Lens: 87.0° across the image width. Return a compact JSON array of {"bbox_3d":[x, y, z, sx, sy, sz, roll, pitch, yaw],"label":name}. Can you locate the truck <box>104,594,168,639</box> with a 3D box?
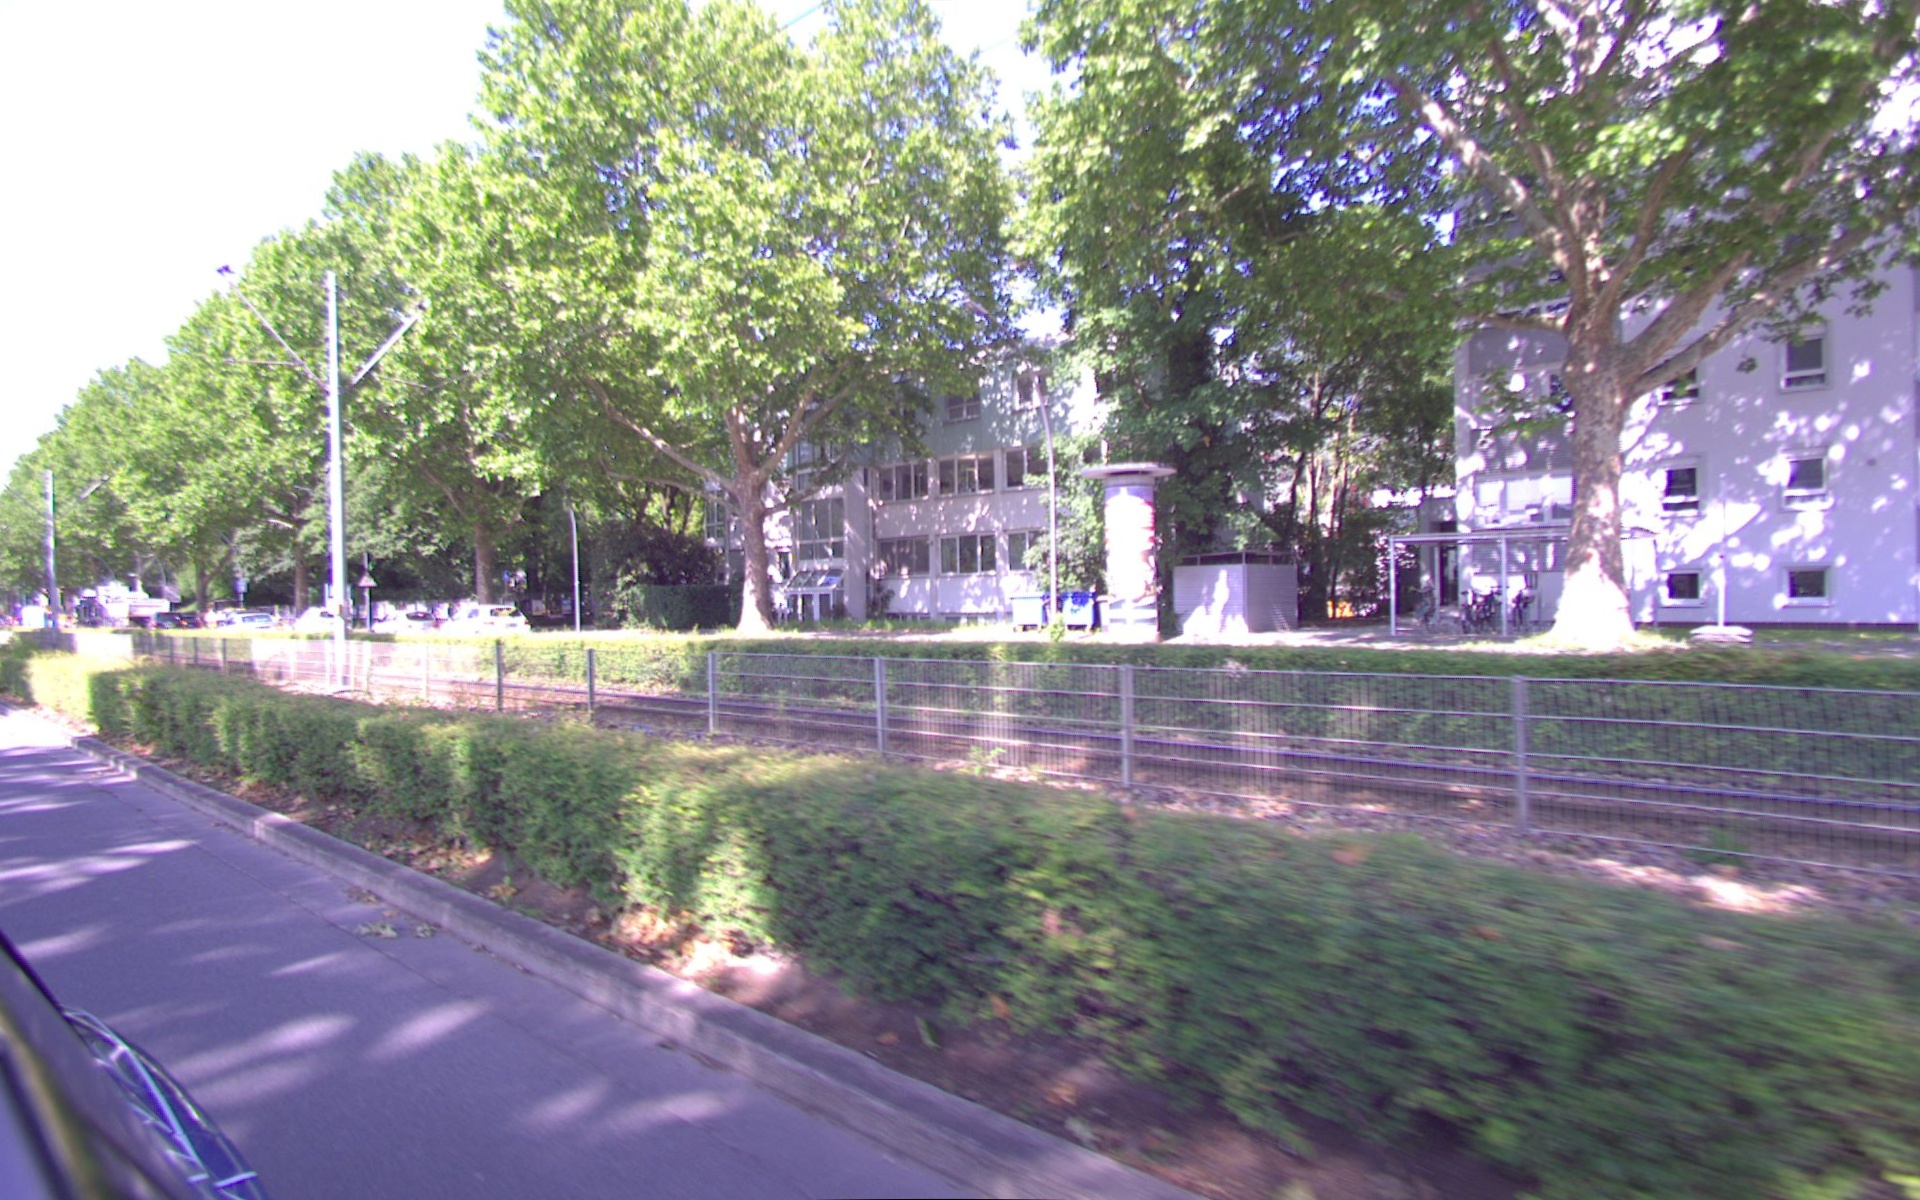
[{"bbox_3d":[-62.973,1.270,77.279,6.538,3.303,2.716,-2,0,41],"label":"truck"}]

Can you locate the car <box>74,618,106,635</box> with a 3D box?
[{"bbox_3d":[-80.586,2.475,93.749,3.863,1.464,1.730,-2,0,41],"label":"car"}]

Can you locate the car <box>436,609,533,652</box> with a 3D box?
[{"bbox_3d":[-17.272,1.103,36.713,3.911,1.502,1.796,-2,-2,41],"label":"car"}]

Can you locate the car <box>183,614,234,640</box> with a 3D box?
[{"bbox_3d":[-46.257,1.680,62.257,3.890,1.425,1.680,-2,2,41],"label":"car"}]

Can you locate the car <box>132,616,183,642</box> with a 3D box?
[{"bbox_3d":[-47.962,1.720,60.461,3.890,1.425,1.680,-2,2,41],"label":"car"}]

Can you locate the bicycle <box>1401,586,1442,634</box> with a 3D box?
[{"bbox_3d":[11.195,0.230,24.528,0.421,1.111,1.747,-2,0,41],"label":"bicycle"}]

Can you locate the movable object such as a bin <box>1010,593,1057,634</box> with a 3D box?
[{"bbox_3d":[2.255,0.408,30.939,1.098,1.198,0.886,-2,0,41],"label":"movable object such as a bin"}]

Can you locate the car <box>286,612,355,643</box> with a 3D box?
[{"bbox_3d":[-31.667,1.358,50.088,3.998,1.464,1.836,-2,0,41],"label":"car"}]

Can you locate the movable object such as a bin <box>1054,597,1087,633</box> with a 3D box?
[{"bbox_3d":[3.286,0.445,29.961,0.545,1.044,0.887,-2,0,41],"label":"movable object such as a bin"}]

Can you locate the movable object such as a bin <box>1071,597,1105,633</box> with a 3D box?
[{"bbox_3d":[3.745,0.435,29.566,0.545,1.044,0.887,-2,0,41],"label":"movable object such as a bin"}]

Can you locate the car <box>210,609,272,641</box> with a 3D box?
[{"bbox_3d":[-38.952,1.341,54.819,3.998,1.594,1.836,-2,0,41],"label":"car"}]

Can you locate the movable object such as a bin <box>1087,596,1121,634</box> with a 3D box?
[{"bbox_3d":[4.161,0.426,29.184,0.545,1.044,0.887,-2,0,41],"label":"movable object such as a bin"}]

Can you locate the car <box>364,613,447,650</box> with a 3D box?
[{"bbox_3d":[-23.800,1.353,43.393,3.998,1.464,1.832,-2,0,41],"label":"car"}]

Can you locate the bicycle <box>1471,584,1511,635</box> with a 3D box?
[{"bbox_3d":[12.330,0.205,23.474,0.421,1.111,1.747,-2,0,41],"label":"bicycle"}]

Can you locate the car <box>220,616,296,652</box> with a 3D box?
[{"bbox_3d":[-31.423,1.498,45.267,3.998,1.464,1.836,-2,0,41],"label":"car"}]

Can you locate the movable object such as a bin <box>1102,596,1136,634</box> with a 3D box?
[{"bbox_3d":[4.532,0.418,28.764,0.545,1.044,0.887,-2,0,41],"label":"movable object such as a bin"}]

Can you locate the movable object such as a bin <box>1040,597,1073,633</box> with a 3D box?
[{"bbox_3d":[2.886,0.454,30.364,0.545,1.044,0.887,-2,0,41],"label":"movable object such as a bin"}]

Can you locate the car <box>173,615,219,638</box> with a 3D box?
[{"bbox_3d":[-51.827,1.801,68.594,3.863,1.464,1.730,-2,0,41],"label":"car"}]

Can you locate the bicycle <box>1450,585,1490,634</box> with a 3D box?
[{"bbox_3d":[12.007,0.212,23.806,0.421,1.111,1.747,-2,0,41],"label":"bicycle"}]

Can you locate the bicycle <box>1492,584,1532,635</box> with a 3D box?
[{"bbox_3d":[12.655,0.198,23.179,0.421,1.111,1.747,-2,0,41],"label":"bicycle"}]
